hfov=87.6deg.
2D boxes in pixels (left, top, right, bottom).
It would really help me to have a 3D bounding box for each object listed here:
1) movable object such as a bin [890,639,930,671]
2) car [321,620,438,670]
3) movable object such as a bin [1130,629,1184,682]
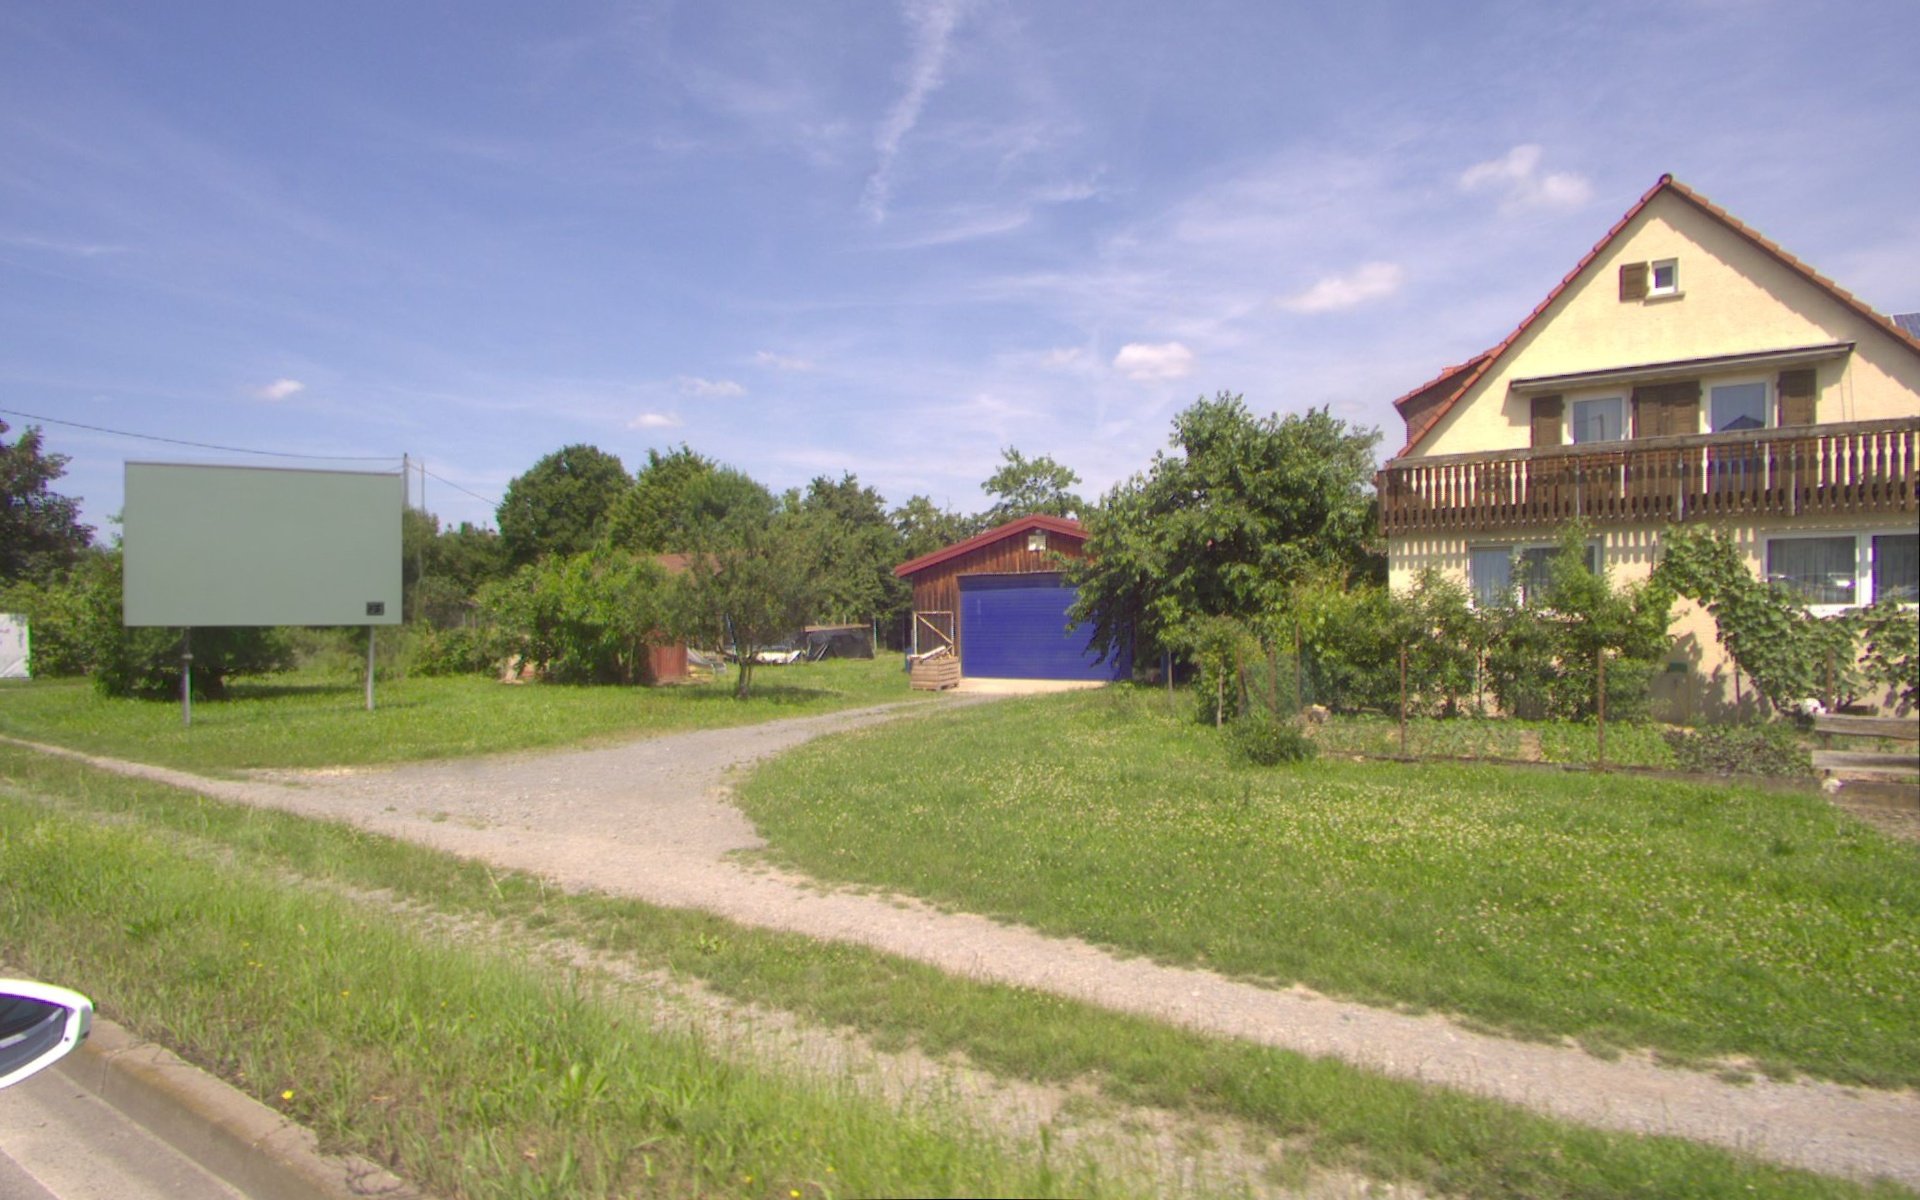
[{"bbox_3d":[-1.673,1.843,33.620,1.045,1.046,1.040,0,-1,18],"label":"movable object such as a bin"},{"bbox_3d":[-25.118,1.926,43.441,1.976,2.039,3.971,0,-2,40],"label":"car"},{"bbox_3d":[5.430,1.510,27.538,1.049,1.415,1.271,0,-1,34],"label":"movable object such as a bin"}]
